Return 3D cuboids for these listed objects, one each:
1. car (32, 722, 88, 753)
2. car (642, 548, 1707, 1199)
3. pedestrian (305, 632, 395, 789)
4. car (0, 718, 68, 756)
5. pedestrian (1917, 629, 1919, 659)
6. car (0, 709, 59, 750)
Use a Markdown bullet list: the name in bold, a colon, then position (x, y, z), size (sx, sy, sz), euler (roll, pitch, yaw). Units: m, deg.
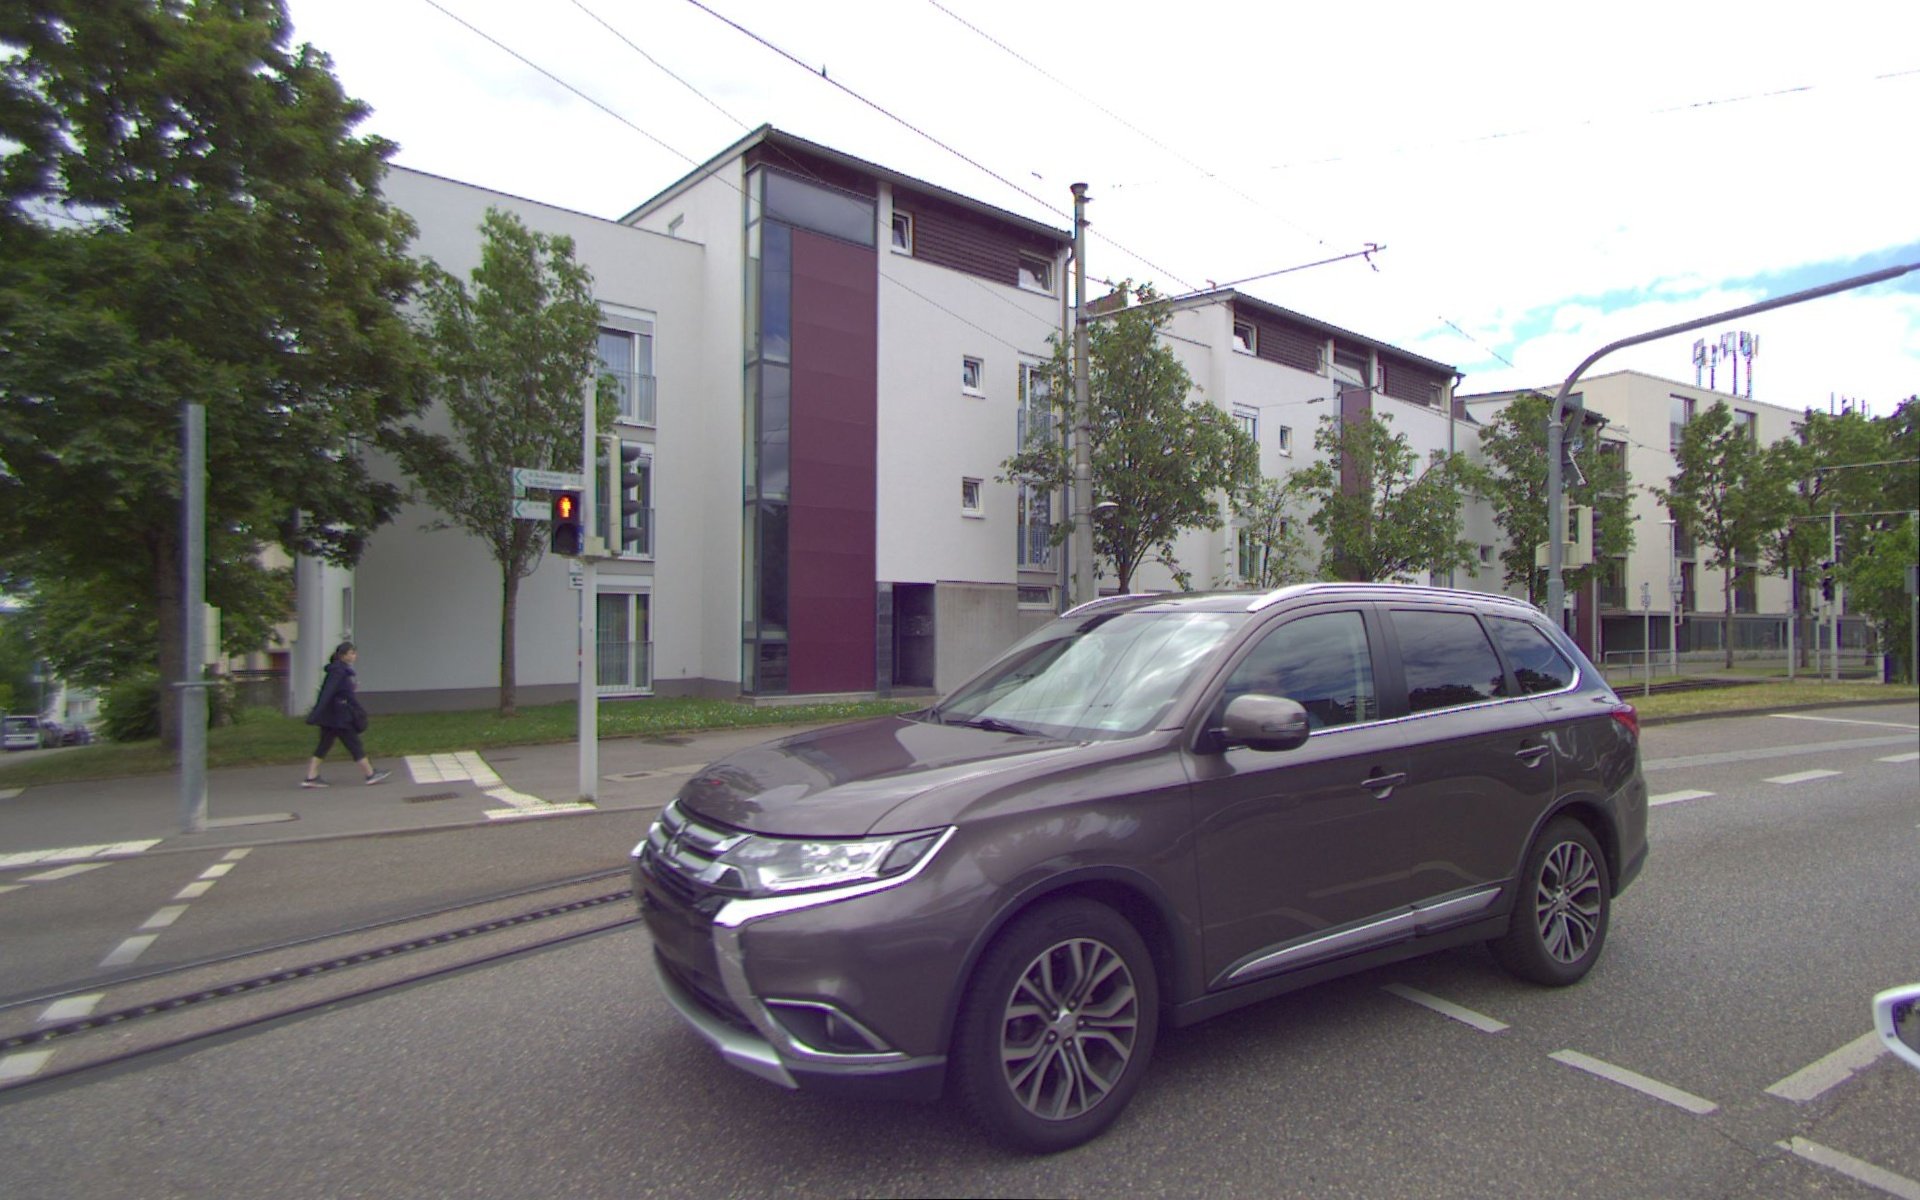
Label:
- **car**: position (-49.465, 7.574, 55.259), size (1.982, 1.536, 3.960), euler (1, -7, -38)
- **car**: position (1.108, 0.753, 4.361), size (4.436, 1.692, 1.821), euler (2, 1, -31)
- **pedestrian**: position (-6.906, 1.217, 11.363), size (0.811, 1.666, 0.670), euler (-1, -2, -35)
- **car**: position (-41.924, 6.211, 45.499), size (1.982, 1.536, 3.960), euler (1, -7, -38)
- **pedestrian**: position (57.141, 2.594, 59.168), size (0.896, 1.742, 0.915), euler (1, -1, -30)
- **car**: position (-39.275, 5.456, 42.065), size (1.982, 1.536, 3.960), euler (1, -7, -38)
